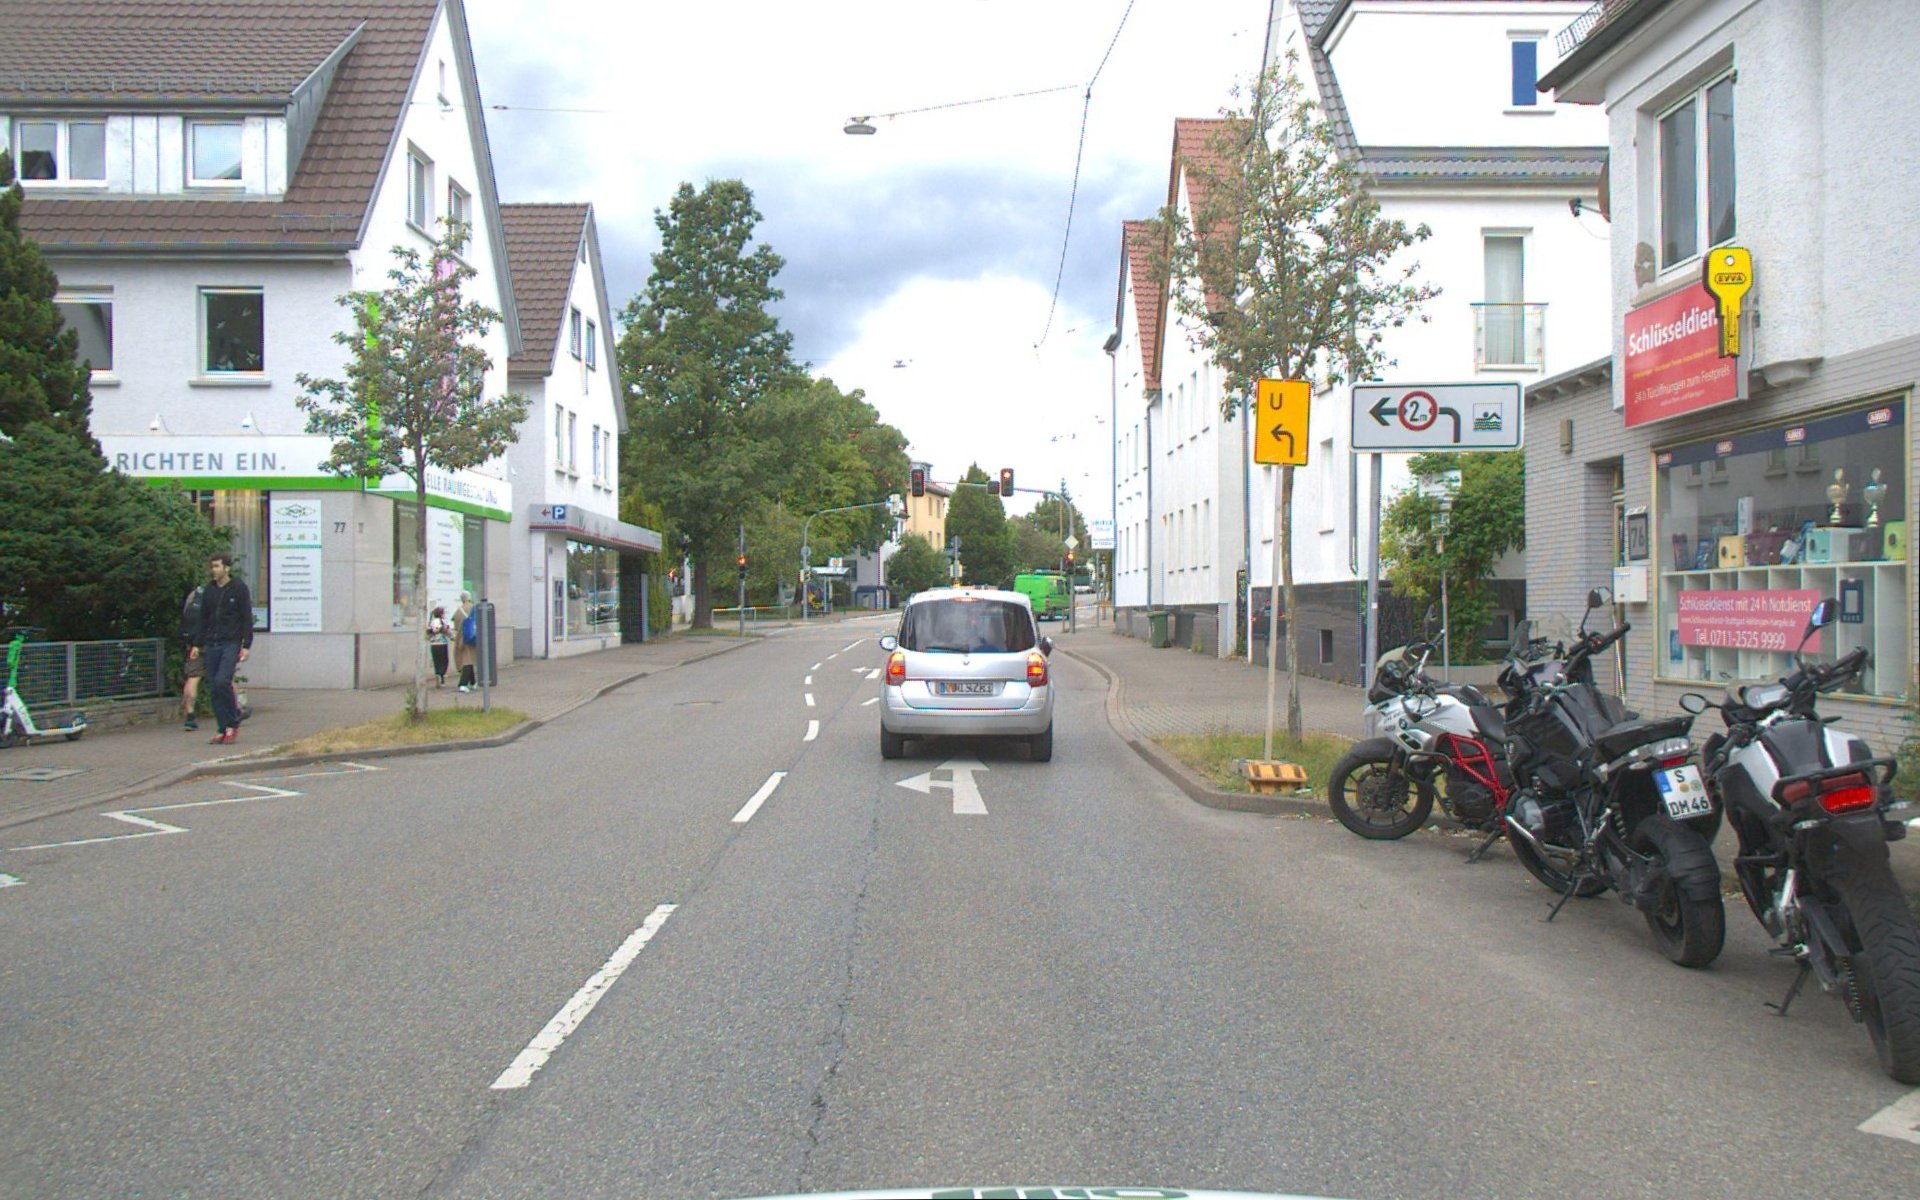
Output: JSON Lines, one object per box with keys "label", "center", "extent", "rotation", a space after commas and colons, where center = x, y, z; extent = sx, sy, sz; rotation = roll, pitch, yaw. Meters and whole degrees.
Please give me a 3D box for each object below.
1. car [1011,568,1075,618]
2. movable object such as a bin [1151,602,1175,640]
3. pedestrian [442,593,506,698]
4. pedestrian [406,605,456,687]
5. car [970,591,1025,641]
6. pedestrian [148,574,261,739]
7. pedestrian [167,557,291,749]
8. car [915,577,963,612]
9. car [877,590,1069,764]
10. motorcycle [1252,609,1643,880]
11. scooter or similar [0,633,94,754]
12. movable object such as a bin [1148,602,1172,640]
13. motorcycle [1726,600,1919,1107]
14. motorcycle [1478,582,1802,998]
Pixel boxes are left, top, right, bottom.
{"label": "car", "center": [4.376, -0.359, 86.174], "extent": [2.015, 2.556, 5.599], "rotation": [0, 0, 17]}
{"label": "movable object such as a bin", "center": [5.287, 0.552, 43.081], "extent": [0.529, 0.957, 0.487], "rotation": [-3, 0, 1]}
{"label": "pedestrian", "center": [-7.881, 0.720, 26.844], "extent": [0.736, 1.645, 0.793], "rotation": [2, 0, 0]}
{"label": "pedestrian", "center": [-8.621, 0.746, 26.992], "extent": [0.587, 1.302, 0.655], "rotation": [1, 0, 0]}
{"label": "car", "center": [1.197, 0.501, 54.225], "extent": [1.719, 1.557, 3.797], "rotation": [0, 0, 0]}
{"label": "pedestrian", "center": [-8.410, 0.609, 18.451], "extent": [0.736, 1.774, 1.019], "rotation": [1, 0, 0]}
{"label": "pedestrian", "center": [-7.504, 0.529, 17.011], "extent": [0.736, 1.881, 1.019], "rotation": [3, 0, 0]}
{"label": "car", "center": [-1.191, -0.352, 95.053], "extent": [1.885, 1.804, 4.004], "rotation": [-5, 0, 11]}
{"label": "car", "center": [0.129, 0.688, 16.851], "extent": [1.719, 1.557, 4.000], "rotation": [0, 0, 0]}
{"label": "motorcycle", "center": [2.809, 0.763, 9.798], "extent": [0.767, 1.405, 2.213], "rotation": [0, 0, -37]}
{"label": "scooter or similar", "center": [-9.059, 0.906, 16.392], "extent": [0.332, 1.131, 1.180], "rotation": [0, 0, 0]}
{"label": "movable object such as a bin", "center": [5.269, 0.550, 43.618], "extent": [0.529, 0.957, 0.487], "rotation": [-3, 0, 1]}
{"label": "motorcycle", "center": [3.273, 0.740, 5.963], "extent": [0.634, 1.465, 2.470], "rotation": [0, 0, 18]}
{"label": "motorcycle", "center": [2.952, 0.705, 7.498], "extent": [0.656, 1.551, 2.599], "rotation": [0, 0, 6]}
